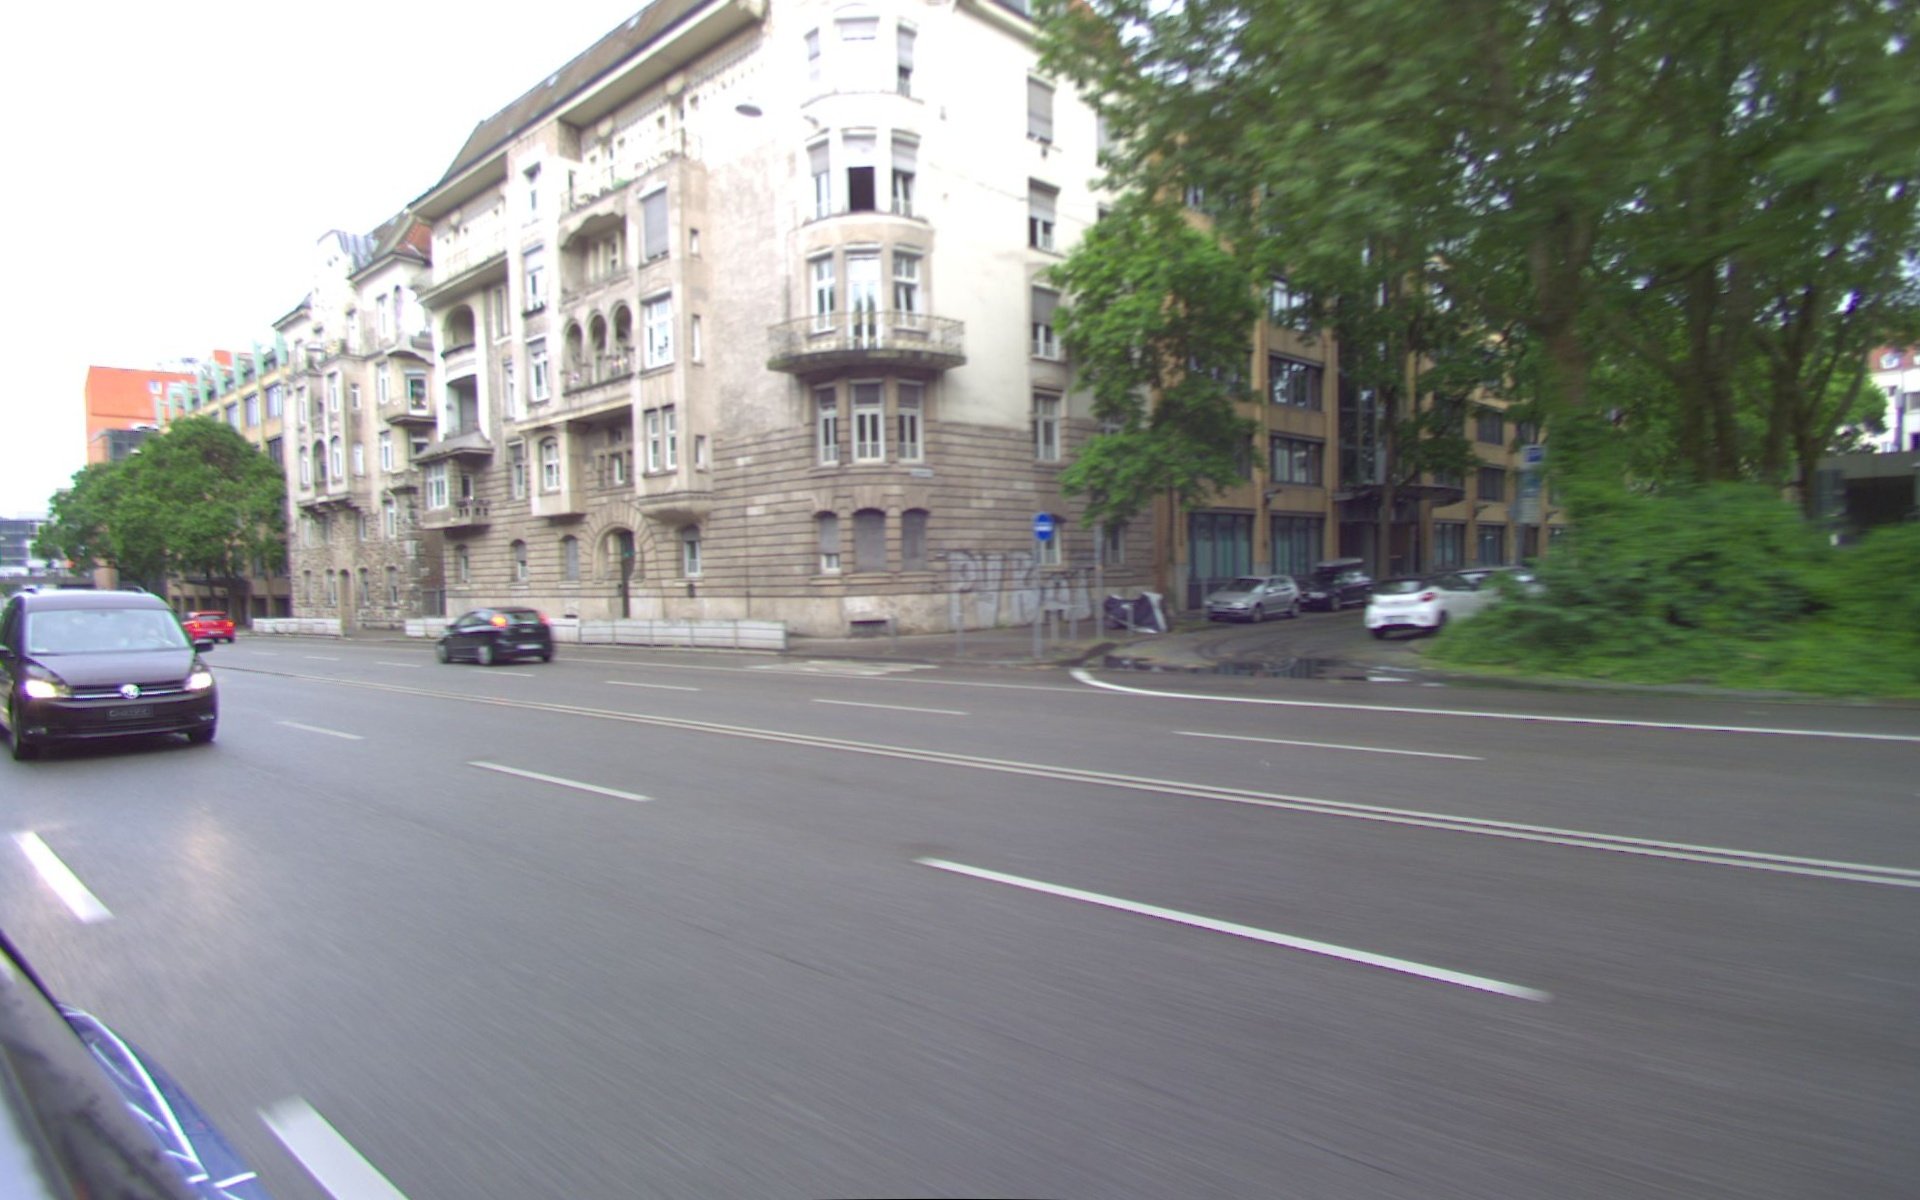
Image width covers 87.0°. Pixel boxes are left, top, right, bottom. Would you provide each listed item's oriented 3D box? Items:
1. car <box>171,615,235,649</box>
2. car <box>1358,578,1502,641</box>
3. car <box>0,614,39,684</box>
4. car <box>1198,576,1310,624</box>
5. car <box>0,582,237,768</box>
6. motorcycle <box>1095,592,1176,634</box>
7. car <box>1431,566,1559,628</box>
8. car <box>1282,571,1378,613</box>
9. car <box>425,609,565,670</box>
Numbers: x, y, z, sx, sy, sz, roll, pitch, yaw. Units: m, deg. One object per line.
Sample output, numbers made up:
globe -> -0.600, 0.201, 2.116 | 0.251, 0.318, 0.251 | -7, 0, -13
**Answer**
car -> -34.606, 1.445, 46.231 | 3.960, 1.424, 1.563 | -1, 0, 42
car -> 11.332, 0.210, 24.361 | 3.450, 1.386, 1.782 | -2, -1, -39
car -> -24.395, 1.216, 25.108 | 3.997, 1.625, 1.710 | -1, 2, 40
car -> 9.556, -0.016, 32.760 | 3.940, 1.371, 1.696 | -3, 2, -43
car -> -10.148, 0.759, 11.773 | 3.996, 1.804, 1.819 | -2, 0, 39
motorcycle -> 5.011, 0.365, 29.088 | 2.394, 1.150, 0.498 | -1, 1, 44
car -> 14.380, -0.097, 27.150 | 3.766, 1.524, 1.781 | -2, -1, -41
car -> 13.556, -0.317, 36.938 | 3.940, 1.371, 1.696 | -3, 2, -43
car -> -11.707, 0.956, 25.403 | 3.912, 1.349, 1.684 | -1, 0, 40
